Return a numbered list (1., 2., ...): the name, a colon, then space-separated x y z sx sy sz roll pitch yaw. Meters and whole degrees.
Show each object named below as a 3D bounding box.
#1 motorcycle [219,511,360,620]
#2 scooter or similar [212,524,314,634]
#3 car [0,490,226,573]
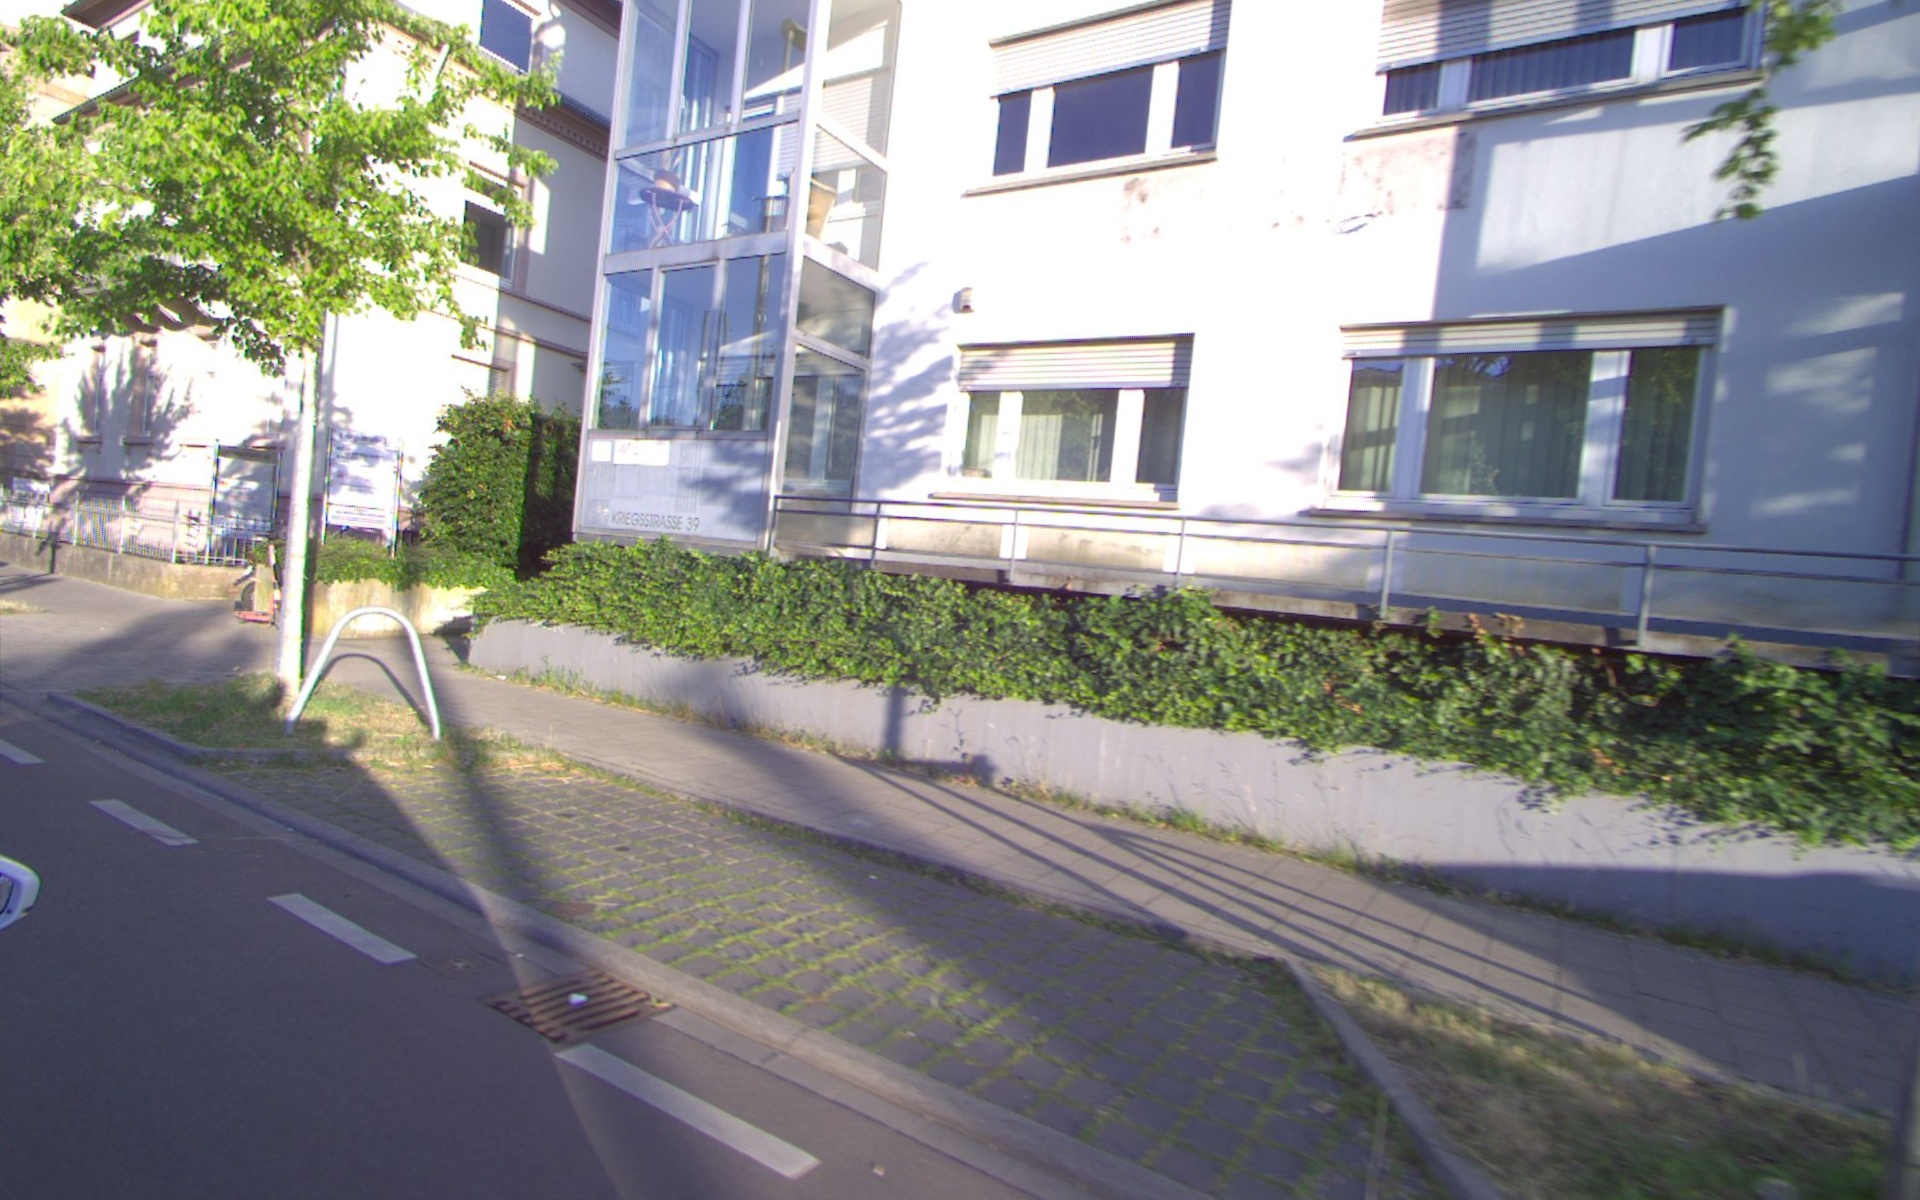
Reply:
1. motorcycle: -9.622 -0.465 14.486 0.615 1.432 1.497 8 3 28
2. scooter or similar: -8.948 -0.276 12.916 1.188 1.273 0.491 6 0 28
3. car: -21.662 -1.704 25.752 1.886 1.591 4.194 7 1 34
